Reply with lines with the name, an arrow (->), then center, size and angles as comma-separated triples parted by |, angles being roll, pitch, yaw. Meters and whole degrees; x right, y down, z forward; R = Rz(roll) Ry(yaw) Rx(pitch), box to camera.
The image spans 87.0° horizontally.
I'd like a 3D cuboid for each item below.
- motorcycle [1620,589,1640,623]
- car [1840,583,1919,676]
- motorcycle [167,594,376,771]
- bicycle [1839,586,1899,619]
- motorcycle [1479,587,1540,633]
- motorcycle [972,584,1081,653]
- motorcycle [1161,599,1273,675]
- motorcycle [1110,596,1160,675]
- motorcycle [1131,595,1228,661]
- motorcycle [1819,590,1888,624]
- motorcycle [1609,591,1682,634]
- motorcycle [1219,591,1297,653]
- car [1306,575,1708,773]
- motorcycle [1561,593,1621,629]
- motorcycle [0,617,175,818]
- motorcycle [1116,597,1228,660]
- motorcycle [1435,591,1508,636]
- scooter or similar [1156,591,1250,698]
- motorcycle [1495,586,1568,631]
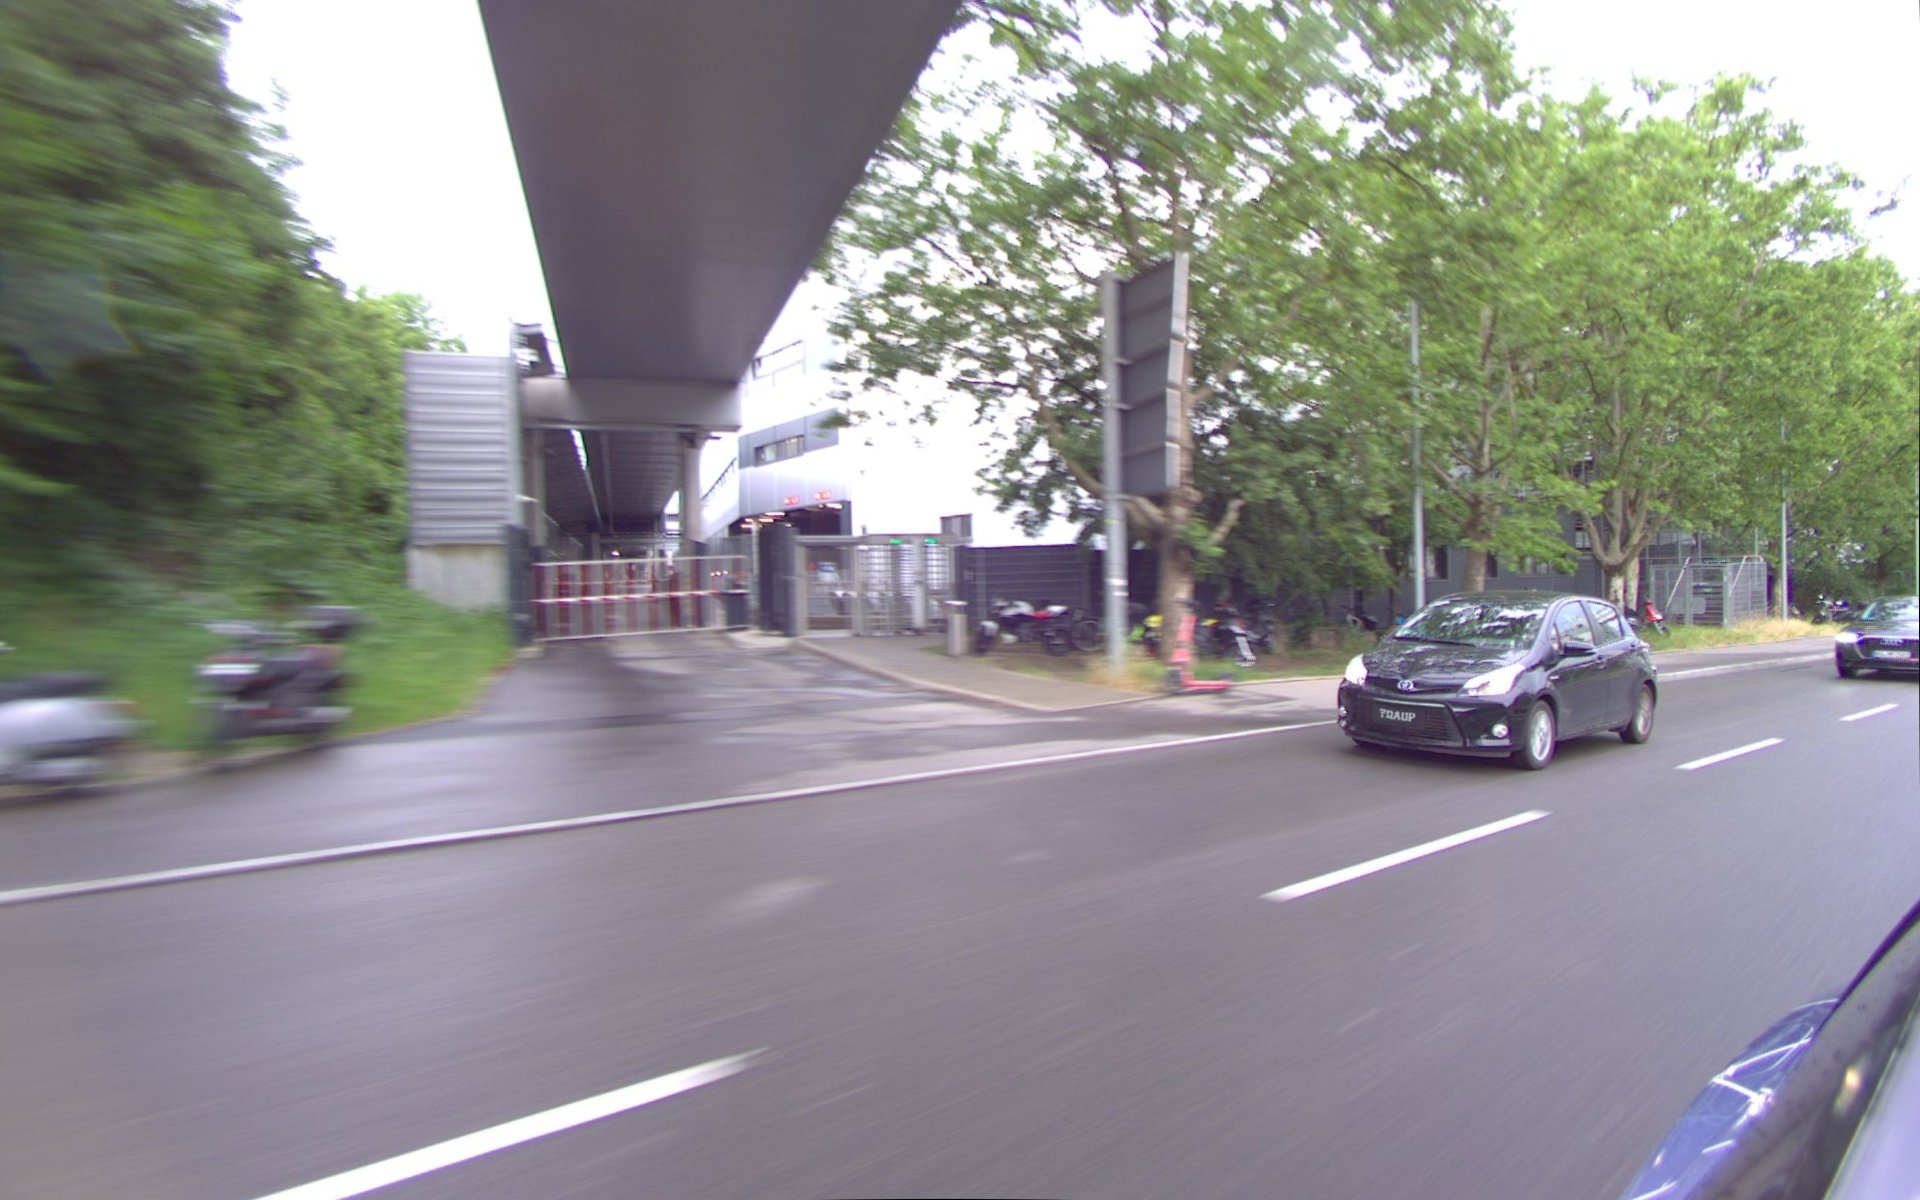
motorcycle -> 23.168, 0.200, 35.006 | 0.474, 1.160, 1.876 | -2, -1, 32
car -> 18.754, 0.479, 19.419 | 5.507, 1.564, 1.820 | -1, 0, -38
motorcycle -> -5.737, 0.614, 8.577 | 0.536, 1.314, 1.946 | 0, 1, -3
bicycle -> 38.099, 0.096, 42.452 | 1.856, 1.365, 0.441 | 1, 1, 41
motorcycle -> 16.794, 0.316, 30.955 | 0.498, 1.382, 1.500 | -1, -1, -42
motorcycle -> 1.261, 0.349, 19.254 | 2.028, 1.295, 0.350 | 0, 0, -10
motorcycle -> 4.556, 0.626, 18.028 | 1.844, 1.268, 0.621 | 0, 0, 38
motorcycle -> 3.007, 0.564, 17.300 | 0.621, 1.268, 1.844 | 0, 0, 17
motorcycle -> 4.379, 0.545, 20.216 | 1.817, 1.295, 0.522 | 0, 0, -7
motorcycle -> 35.293, 0.271, 40.015 | 0.432, 1.289, 2.019 | 0, 1, -25
motorcycle -> 19.558, 0.362, 28.903 | 0.483, 1.165, 1.660 | -1, -1, -29
motorcycle -> 6.542, 0.450, 22.173 | 1.955, 1.295, 0.647 | -1, 1, -38
car -> 5.448, 0.541, 9.820 | 4.556, 1.488, 1.749 | -1, 0, -38
motorcycle -> 21.547, 0.384, 34.574 | 0.548, 1.160, 1.646 | -1, -1, -27
motorcycle -> -6.218, 0.749, 6.417 | 0.467, 1.228, 1.921 | 0, 1, 33
motorcycle -> 4.465, 0.586, 21.347 | 2.234, 1.295, 0.522 | 0, 0, -7
motorcycle -> 15.111, 0.416, 29.940 | 0.481, 1.274, 1.921 | -1, -1, -31
scooter or similar -> 3.154, 0.553, 13.096 | 1.281, 1.315, 0.313 | -1, 0, -26
motorcycle -> 18.158, 0.283, 32.203 | 0.498, 1.382, 1.930 | -1, -1, -42
